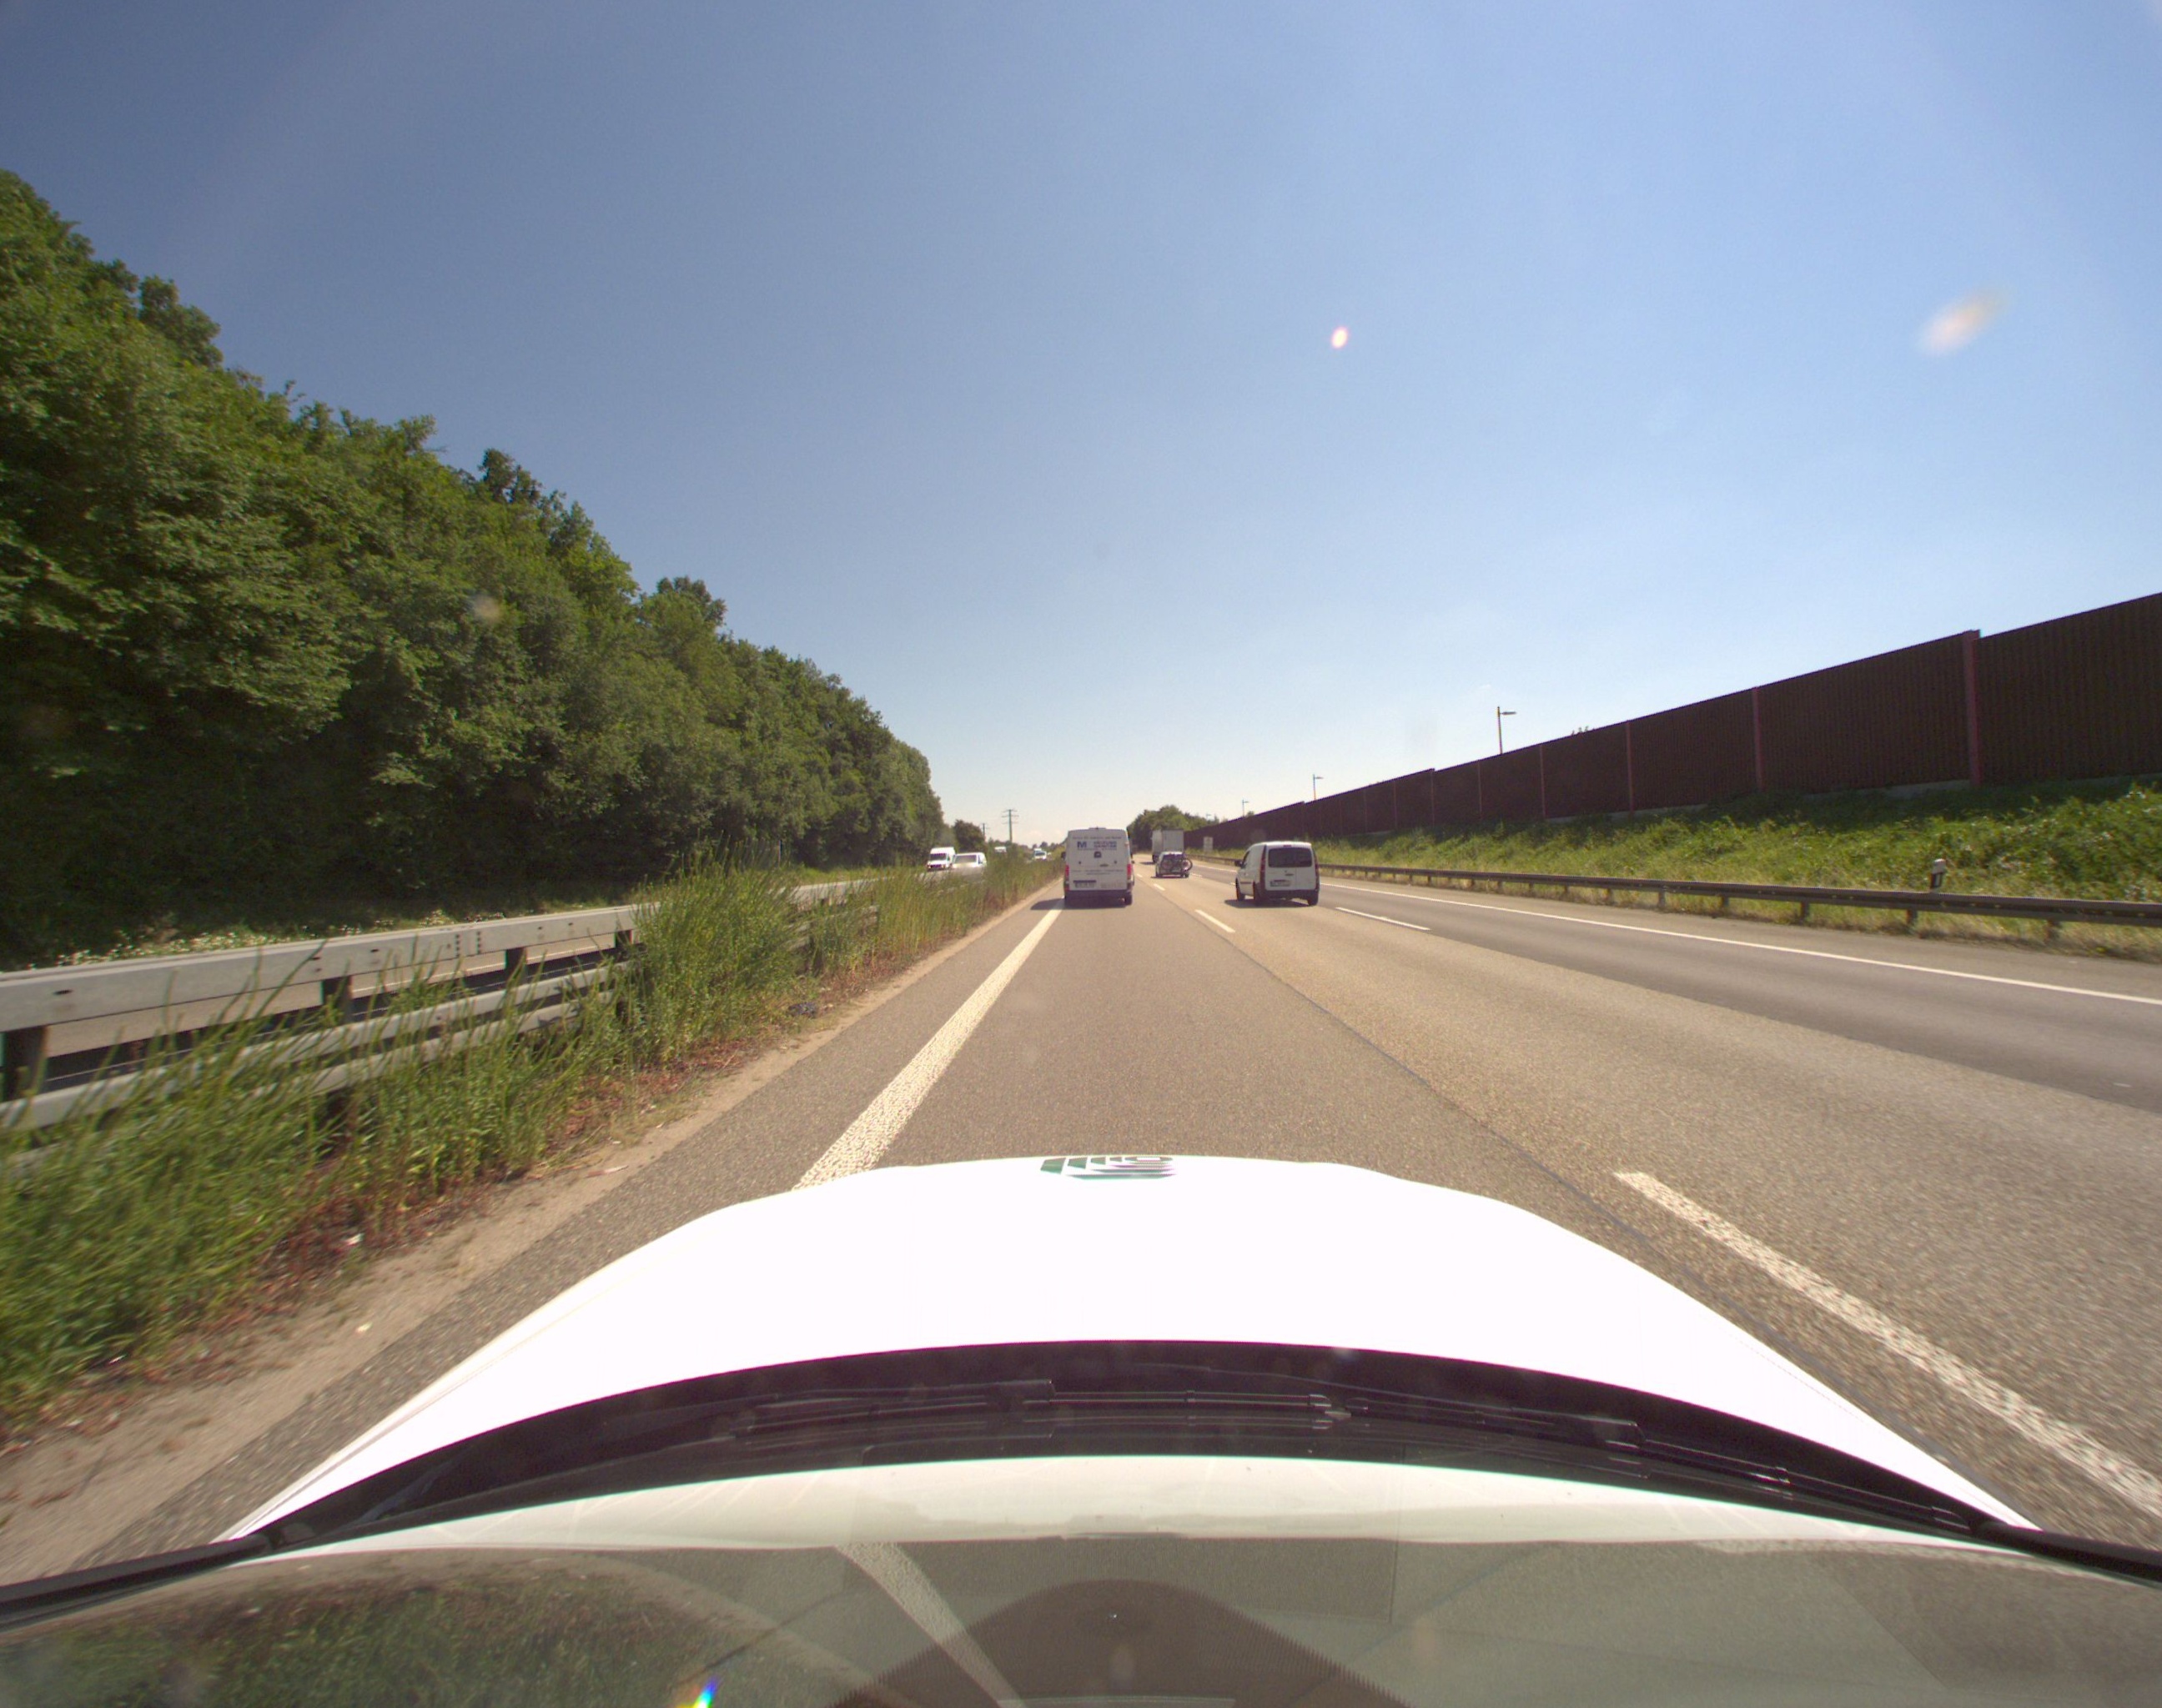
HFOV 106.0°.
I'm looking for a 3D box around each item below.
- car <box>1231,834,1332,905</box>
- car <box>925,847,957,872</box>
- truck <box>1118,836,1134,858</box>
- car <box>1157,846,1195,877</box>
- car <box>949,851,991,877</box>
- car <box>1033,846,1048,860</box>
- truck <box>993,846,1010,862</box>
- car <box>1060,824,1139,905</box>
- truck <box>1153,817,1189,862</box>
[{"bbox_3d":[5.808,0.443,24.102,1.944,1.838,4.178,-2,-1,1],"label":"car"},{"bbox_3d":[-13.861,0.517,80.926,2.116,2.339,5.087,-3,0,2],"label":"car"},{"bbox_3d":[11.169,-1.656,199.524,3.772,5.000,12.530,0,-1,4],"label":"truck"},{"bbox_3d":[5.623,0.452,48.655,1.967,1.733,4.092,-2,-1,4],"label":"car"},{"bbox_3d":[-7.447,0.663,54.883,1.986,1.587,4.427,-3,0,2],"label":"car"},{"bbox_3d":[-6.190,-0.097,124.543,1.987,2.013,4.000,-2,0,0],"label":"car"},{"bbox_3d":[-13.786,0.037,142.060,1.985,2.741,5.863,0,-1,4],"label":"truck"},{"bbox_3d":[0.469,0.324,25.372,2.175,2.254,5.360,-1,-1,-1],"label":"car"},{"bbox_3d":[10.785,-1.598,98.781,3.772,5.000,12.530,0,-1,4],"label":"truck"}]
